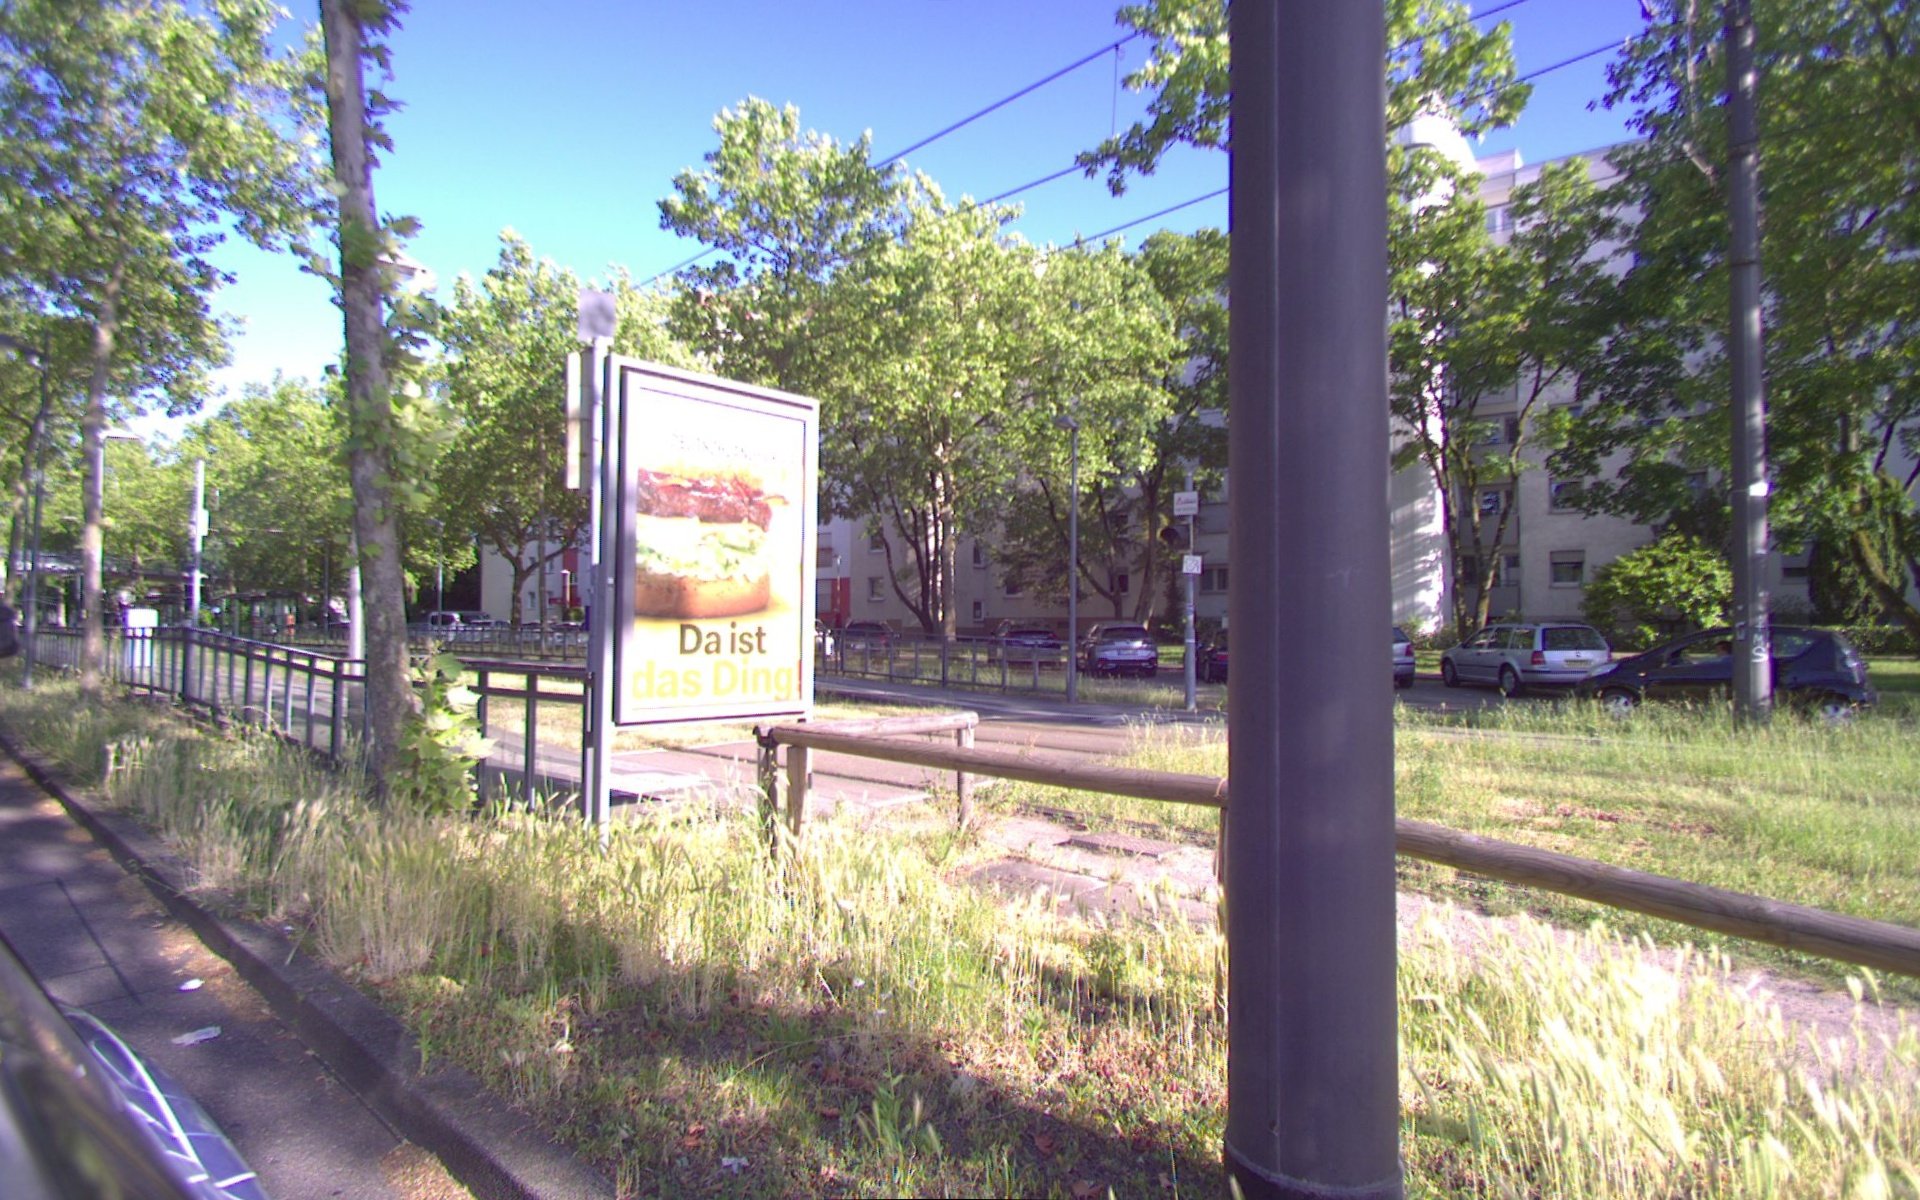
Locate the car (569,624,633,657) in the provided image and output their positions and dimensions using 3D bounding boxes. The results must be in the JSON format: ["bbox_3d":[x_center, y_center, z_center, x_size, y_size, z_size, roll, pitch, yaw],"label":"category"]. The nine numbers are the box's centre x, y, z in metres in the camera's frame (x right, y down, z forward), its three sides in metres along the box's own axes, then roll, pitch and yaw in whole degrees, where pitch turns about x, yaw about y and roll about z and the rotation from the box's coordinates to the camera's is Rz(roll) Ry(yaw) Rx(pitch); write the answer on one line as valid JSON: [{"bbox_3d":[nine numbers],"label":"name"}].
[{"bbox_3d":[-16.679,1.843,47.132,1.627,1.460,3.680,0,-1,1],"label":"car"}]

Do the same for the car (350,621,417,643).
[{"bbox_3d":[-37.933,2.060,66.696,1.898,1.386,4.365,0,-1,1],"label":"car"}]

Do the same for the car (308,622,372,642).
[{"bbox_3d":[-44.641,2.282,72.981,1.898,1.386,4.365,0,-1,1],"label":"car"}]

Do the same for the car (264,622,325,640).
[{"bbox_3d":[-52.142,2.405,79.361,1.898,1.386,4.365,0,-1,1],"label":"car"}]

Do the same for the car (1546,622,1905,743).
[{"bbox_3d":[10.462,1.029,14.014,3.757,1.431,1.801,-1,-2,42],"label":"car"}]

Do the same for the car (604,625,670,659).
[{"bbox_3d":[-14.080,1.820,44.276,1.627,1.403,3.679,0,-1,2],"label":"car"}]

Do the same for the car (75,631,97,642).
[{"bbox_3d":[-108.900,4.503,126.103,3.294,1.370,1.651,-1,-2,41],"label":"car"}]

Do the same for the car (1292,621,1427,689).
[{"bbox_3d":[9.156,1.220,23.523,1.679,1.444,3.681,0,-1,1],"label":"car"}]

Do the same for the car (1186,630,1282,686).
[{"bbox_3d":[6.732,1.402,25.203,1.602,1.256,3.677,0,-1,4],"label":"car"}]

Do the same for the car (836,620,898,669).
[{"bbox_3d":[-3.105,1.459,34.464,1.664,1.579,3.679,0,-1,2],"label":"car"}]

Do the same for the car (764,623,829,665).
[{"bbox_3d":[-5.906,1.572,36.914,1.664,1.444,3.679,0,-1,2],"label":"car"}]

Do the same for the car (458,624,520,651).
[{"bbox_3d":[-25.795,2.036,55.515,1.627,1.407,3.680,0,-1,1],"label":"car"}]

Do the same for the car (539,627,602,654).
[{"bbox_3d":[-19.043,1.981,49.662,1.627,1.251,3.680,0,-1,1],"label":"car"}]

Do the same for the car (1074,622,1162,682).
[{"bbox_3d":[4.209,1.347,27.488,1.894,1.507,3.680,0,-1,2],"label":"car"}]

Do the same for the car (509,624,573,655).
[{"bbox_3d":[-21.120,1.960,51.130,1.627,1.460,3.680,0,-1,1],"label":"car"}]

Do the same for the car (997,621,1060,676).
[{"bbox_3d":[1.936,1.368,29.442,1.664,1.482,3.680,0,-1,1],"label":"car"}]

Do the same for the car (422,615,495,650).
[{"bbox_3d":[-28.324,1.827,57.324,1.898,1.898,4.365,0,-1,1],"label":"car"}]

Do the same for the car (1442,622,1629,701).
[{"bbox_3d":[11.550,1.177,20.624,1.707,1.444,3.681,0,-1,1],"label":"car"}]

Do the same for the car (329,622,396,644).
[{"bbox_3d":[-40.279,2.205,68.388,1.898,1.386,4.365,0,-1,1],"label":"car"}]
